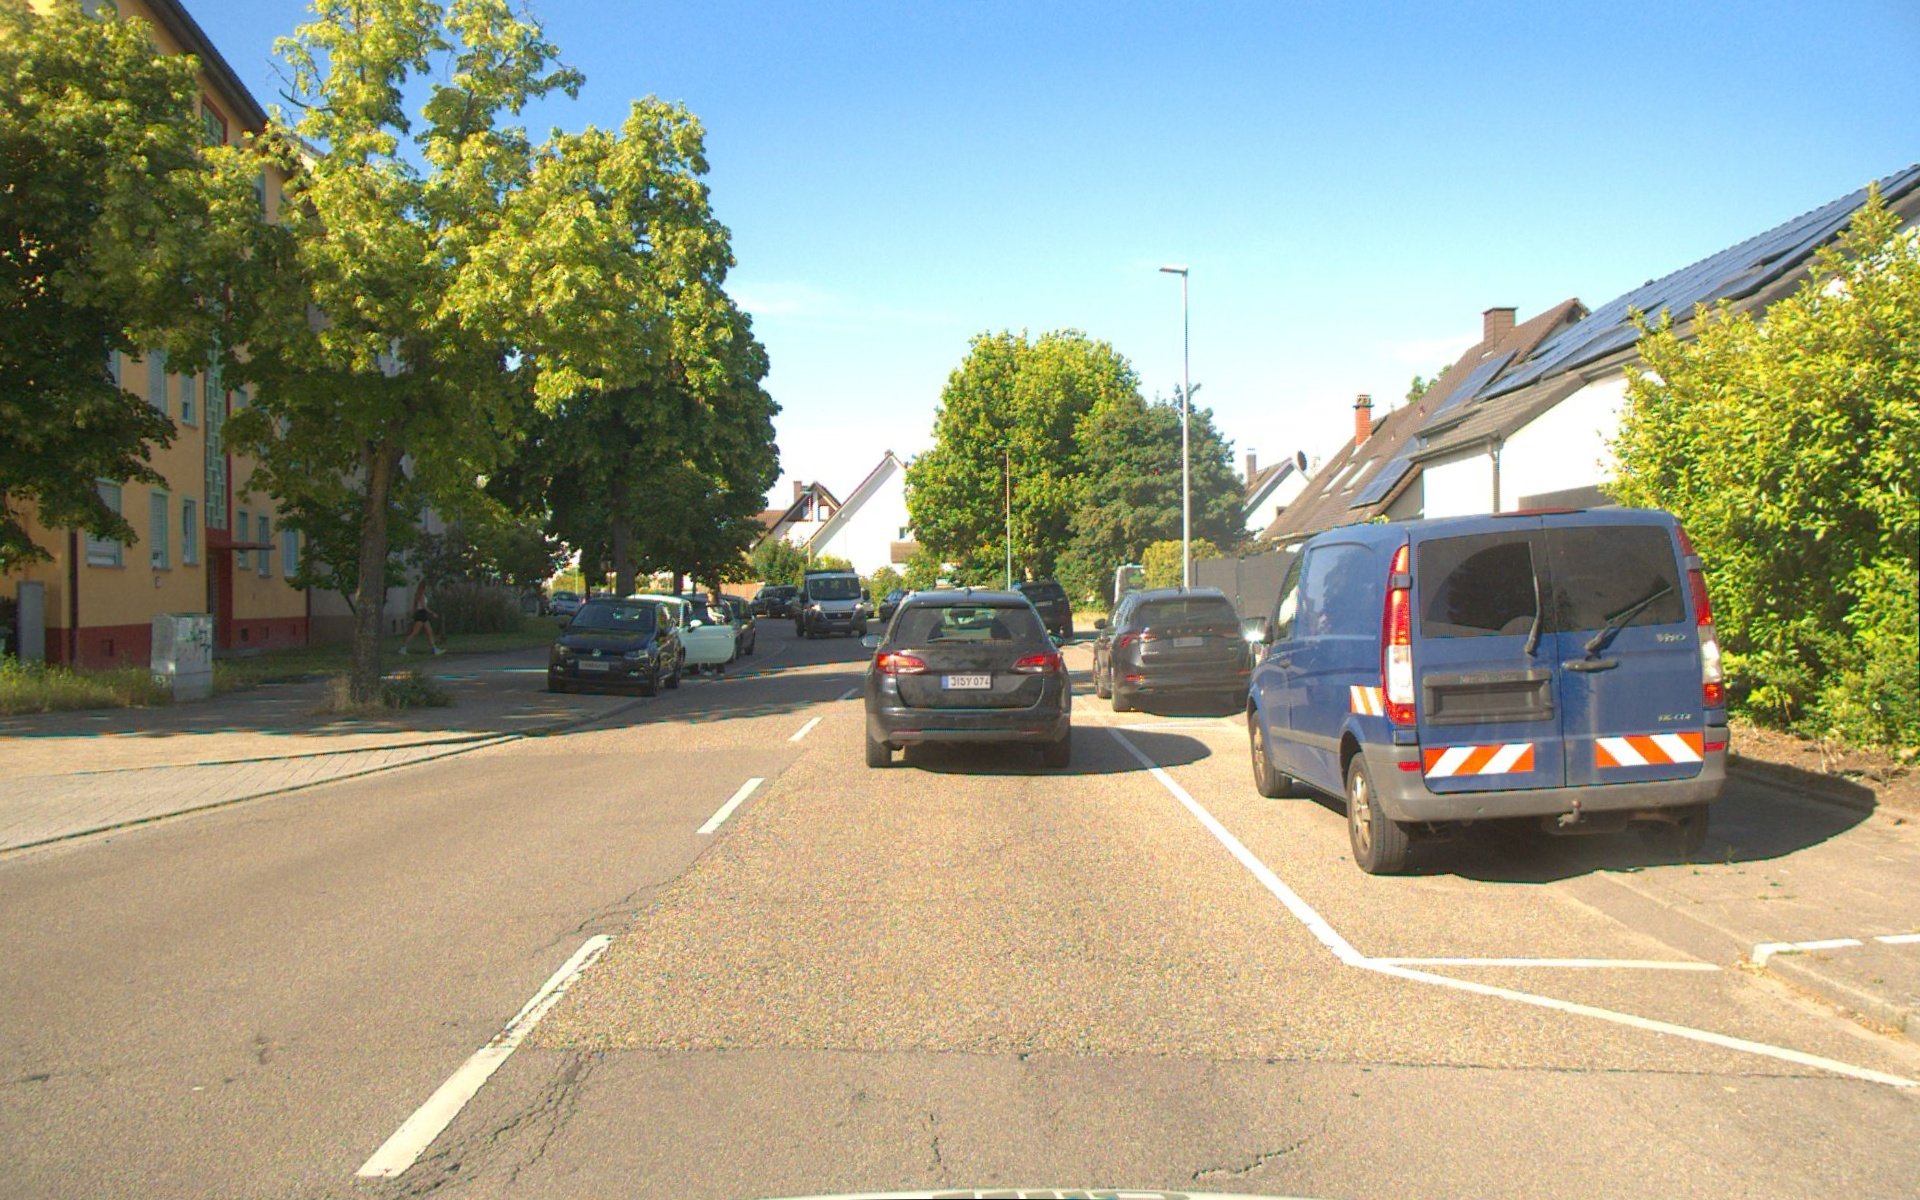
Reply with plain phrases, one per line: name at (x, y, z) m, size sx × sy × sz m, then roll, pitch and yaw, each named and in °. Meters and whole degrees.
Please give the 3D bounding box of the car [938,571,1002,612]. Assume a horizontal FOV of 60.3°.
car at (0.358, -0.308, 64.123) m, size 1.729 × 1.506 × 4.283 m, roll 0°, pitch 0°, yaw -10°

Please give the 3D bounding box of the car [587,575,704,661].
car at (-6.105, 0.381, 32.458) m, size 1.666 × 1.550 × 4.050 m, roll -1°, pitch -1°, yaw -2°

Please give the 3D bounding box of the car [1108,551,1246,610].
car at (7.571, -0.655, 58.084) m, size 4.585 × 2.018 × 2.143 m, roll 0°, pitch -1°, yaw -1°

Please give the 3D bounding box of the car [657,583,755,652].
car at (-6.011, 0.408, 39.584) m, size 1.623 × 1.536 × 4.000 m, roll 1°, pitch 0°, yaw 1°

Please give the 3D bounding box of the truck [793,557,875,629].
truck at (-4.367, -0.216, 58.199) m, size 2.085 × 2.375 × 6.444 m, roll 0°, pitch 0°, yaw 3°

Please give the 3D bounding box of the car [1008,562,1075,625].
car at (2.345, -0.153, 48.283) m, size 1.741 × 1.754 × 4.294 m, roll 0°, pitch 0°, yaw 0°

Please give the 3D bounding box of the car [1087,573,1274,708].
car at (2.670, 0.435, 21.105) m, size 1.729 × 1.506 × 4.991 m, roll -1°, pitch 0°, yaw 0°

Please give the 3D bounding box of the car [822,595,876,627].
car at (-5.582, 0.569, 82.876) m, size 1.791 × 1.561 × 4.239 m, roll 0°, pitch 0°, yaw -17°

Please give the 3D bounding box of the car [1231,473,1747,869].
car at (3.031, 0.354, 10.611) m, size 1.799 × 1.941 × 4.698 m, roll 1°, pitch 0°, yaw 0°

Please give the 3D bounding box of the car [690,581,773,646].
car at (-6.075, 0.329, 44.390) m, size 1.536 × 1.556 × 3.918 m, roll 4°, pitch 0°, yaw 1°

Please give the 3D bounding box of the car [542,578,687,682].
car at (-5.528, 0.506, 26.909) m, size 1.667 × 1.506 × 4.049 m, roll 2°, pitch -2°, yaw -4°

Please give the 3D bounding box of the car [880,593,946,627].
car at (-2.149, 0.443, 74.037) m, size 1.973 × 1.501 × 4.275 m, roll 0°, pitch 0°, yaw -16°

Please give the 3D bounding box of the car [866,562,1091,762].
car at (0.131, 0.506, 15.118) m, size 1.726 × 1.517 × 4.290 m, roll 2°, pitch -1°, yaw -1°

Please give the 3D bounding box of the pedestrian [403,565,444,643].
pedestrian at (-12.192, 0.099, 37.588) m, size 0.671 × 1.748 × 0.720 m, roll 0°, pitch -2°, yaw -1°

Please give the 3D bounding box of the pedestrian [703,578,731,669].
pedestrian at (-4.832, 0.475, 32.916) m, size 0.494 × 1.792 × 0.694 m, roll 0°, pitch -2°, yaw -4°

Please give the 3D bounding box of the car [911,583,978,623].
car at (-0.673, 0.135, 68.767) m, size 1.879 × 1.628 × 4.279 m, roll 0°, pitch 0°, yaw -14°

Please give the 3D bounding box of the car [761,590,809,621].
car at (-9.916, 0.300, 93.334) m, size 1.874 × 1.695 × 4.168 m, roll 0°, pitch -1°, yaw -19°
